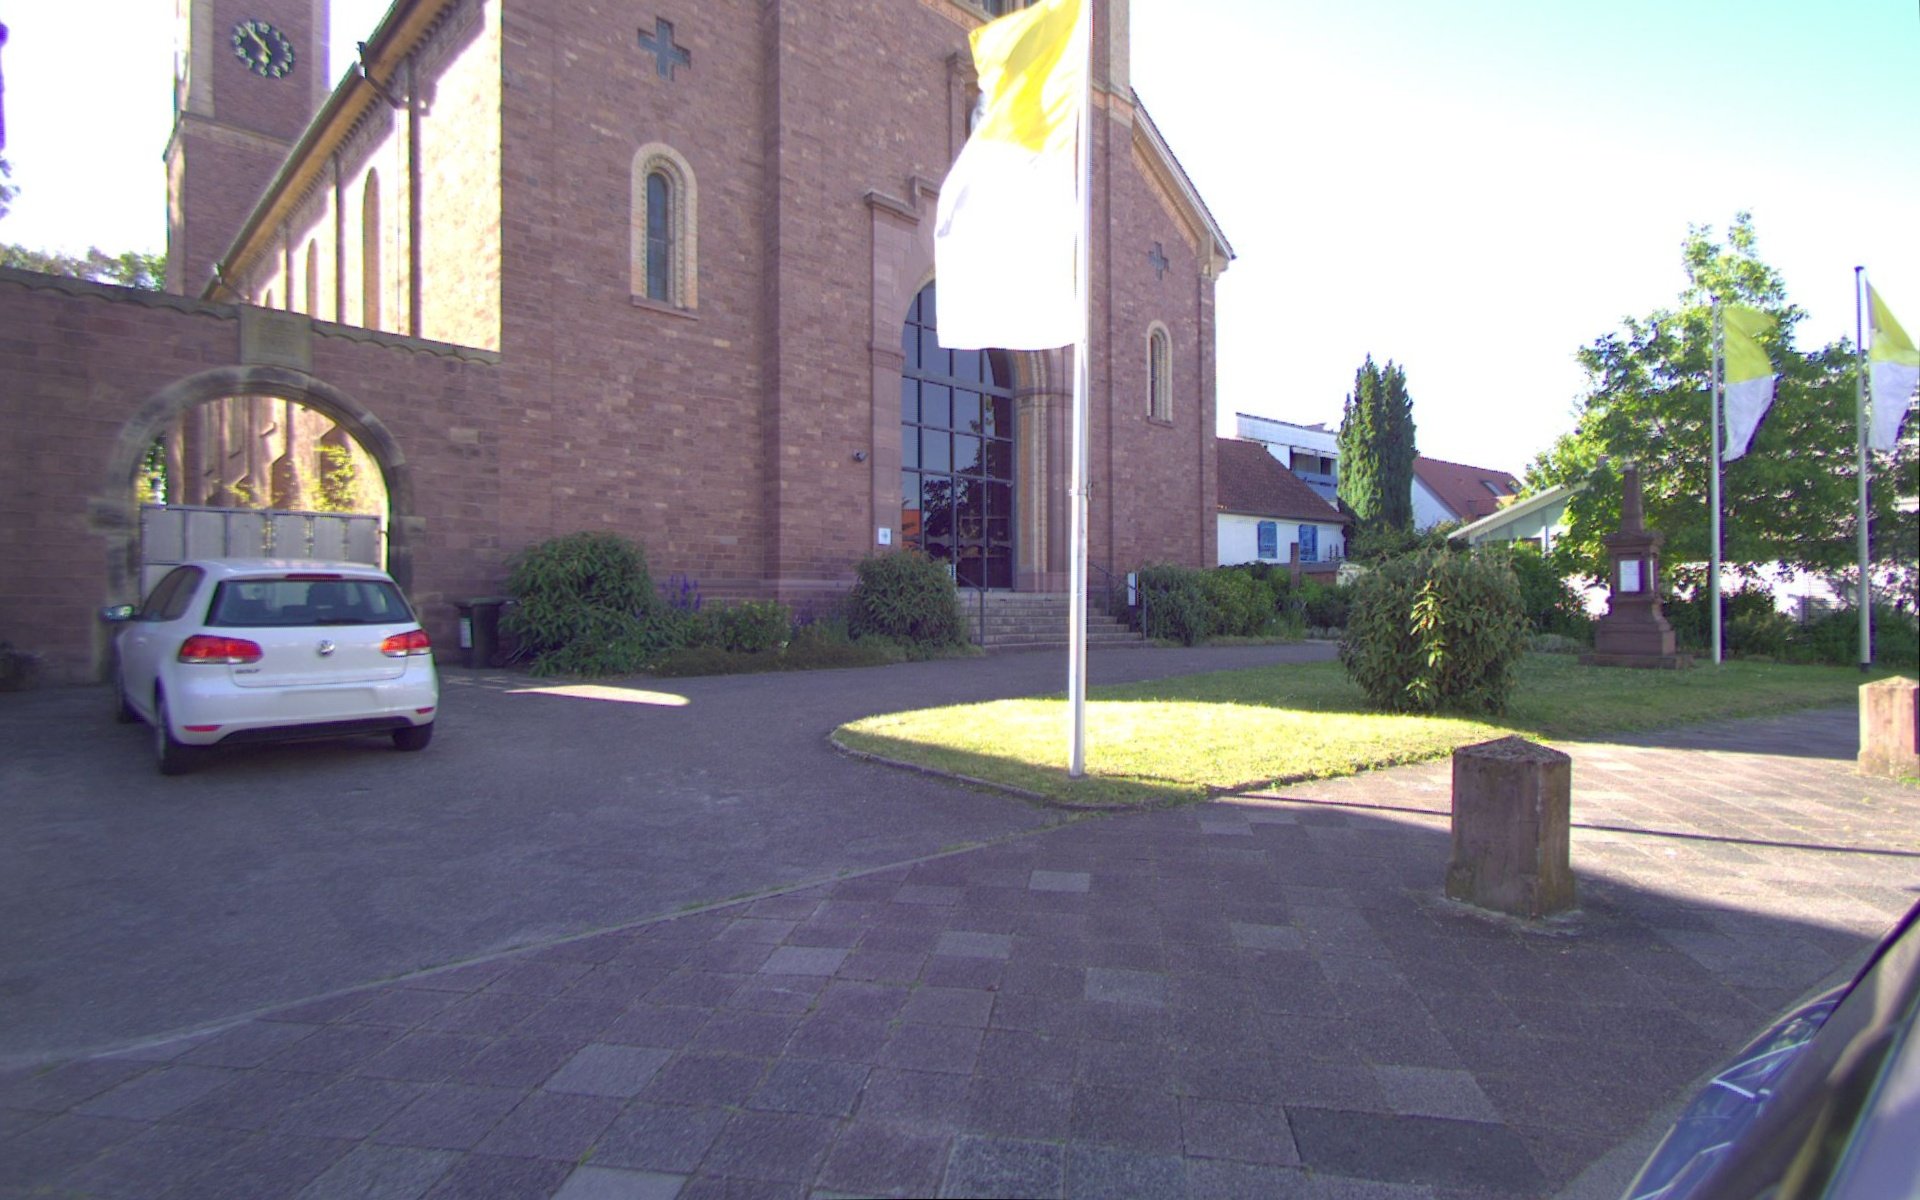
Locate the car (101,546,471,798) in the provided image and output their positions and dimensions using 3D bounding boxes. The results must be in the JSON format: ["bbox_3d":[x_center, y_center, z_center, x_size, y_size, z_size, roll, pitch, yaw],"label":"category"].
[{"bbox_3d":[-5.690,0.351,8.347,1.874,1.514,3.902,-2,4,-44],"label":"car"}]
